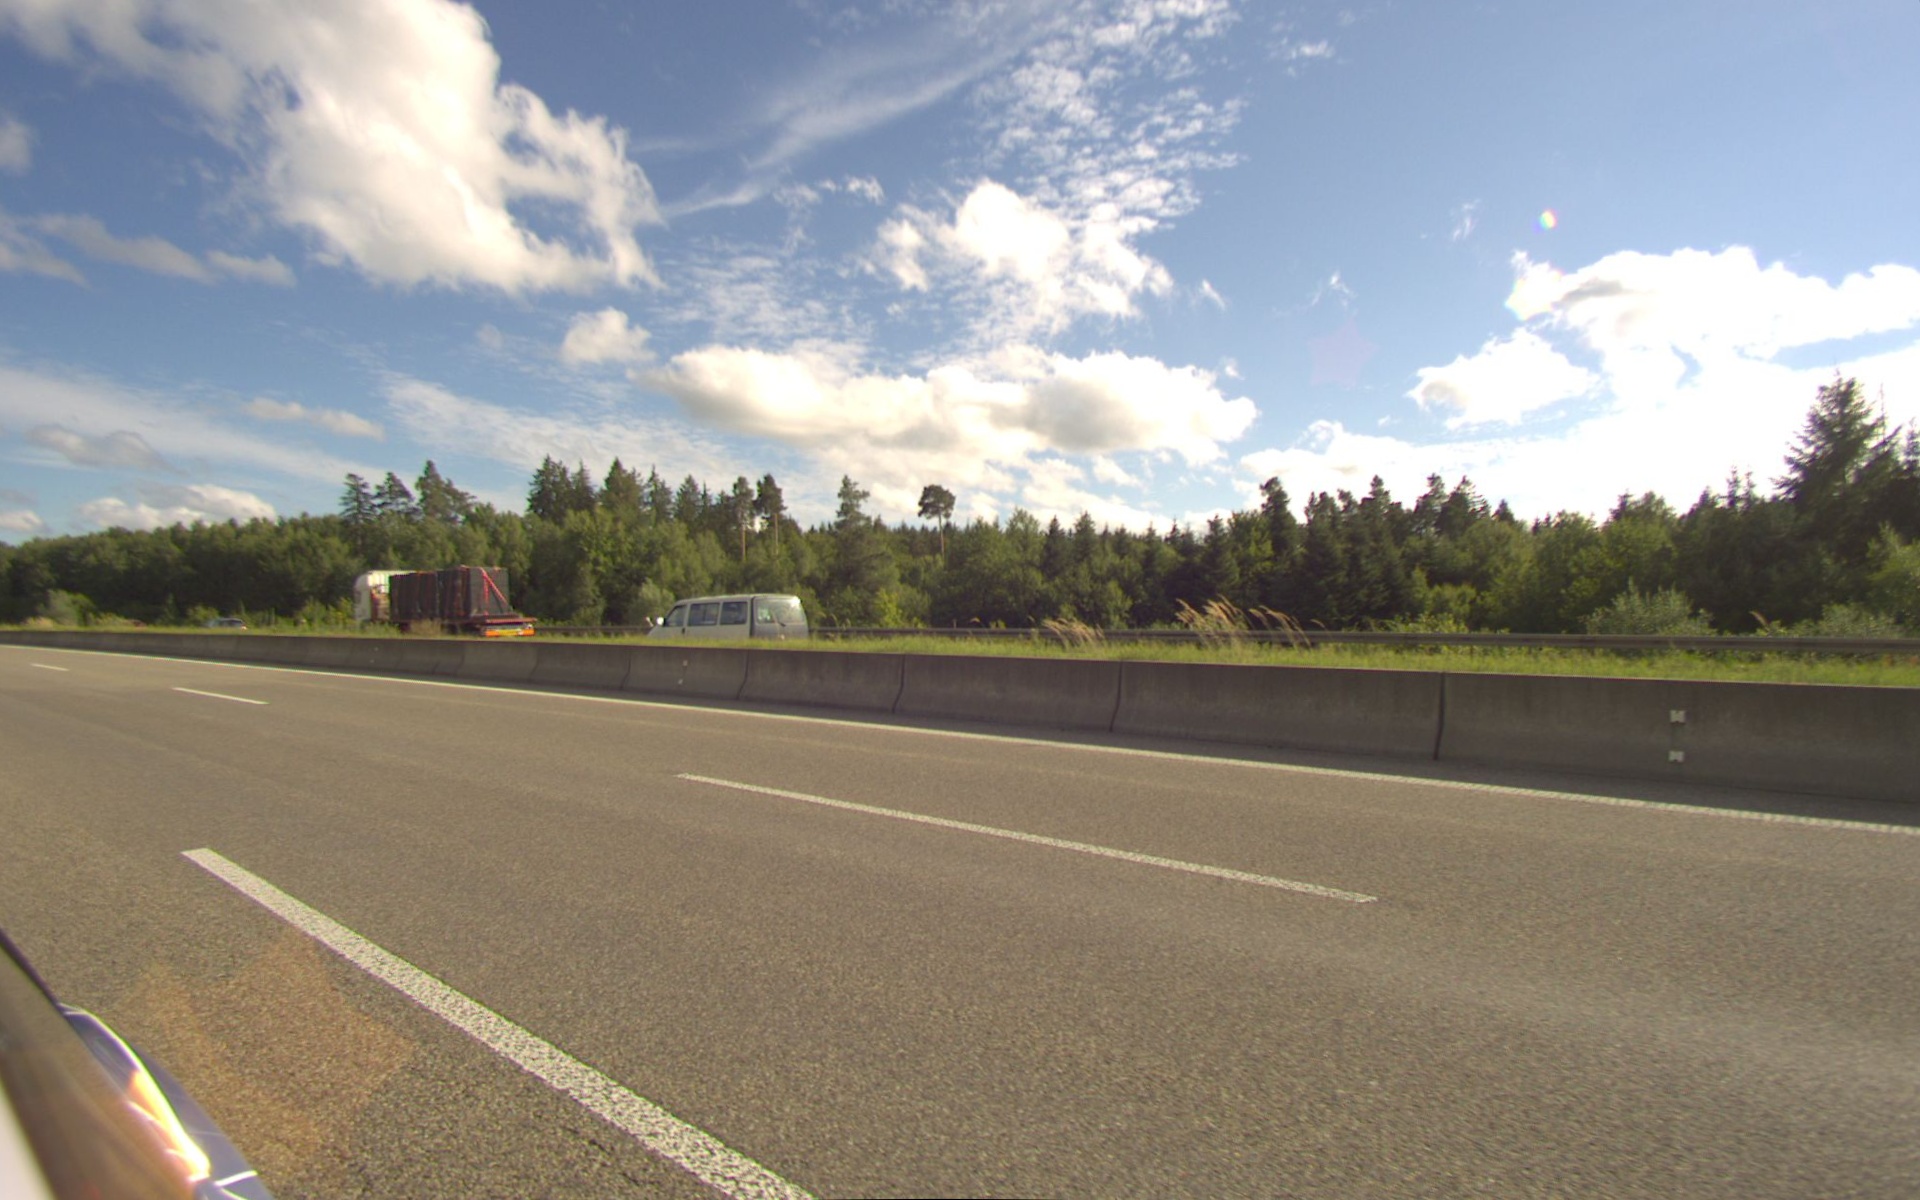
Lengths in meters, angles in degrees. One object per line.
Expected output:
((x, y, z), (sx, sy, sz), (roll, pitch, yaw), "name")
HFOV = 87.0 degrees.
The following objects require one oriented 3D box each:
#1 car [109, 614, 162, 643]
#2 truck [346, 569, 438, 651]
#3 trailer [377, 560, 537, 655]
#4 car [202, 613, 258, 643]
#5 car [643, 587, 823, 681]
((-52.887, 1.828, 64.921), (3.997, 1.816, 1.973), (-1, -1, 40), "car")
((-32.101, 0.581, 57.125), (5.459, 4.425, 2.774), (-1, -1, 40), "truck")
((-26.114, 0.444, 52.099), (12.040, 4.425, 2.774), (-1, -1, 40), "trailer")
((-45.997, 1.737, 63.713), (3.997, 1.816, 1.973), (-1, -1, 40), "car")
((-5.420, 0.764, 23.930), (4.350, 2.029, 1.973), (-1, -1, 41), "car")
